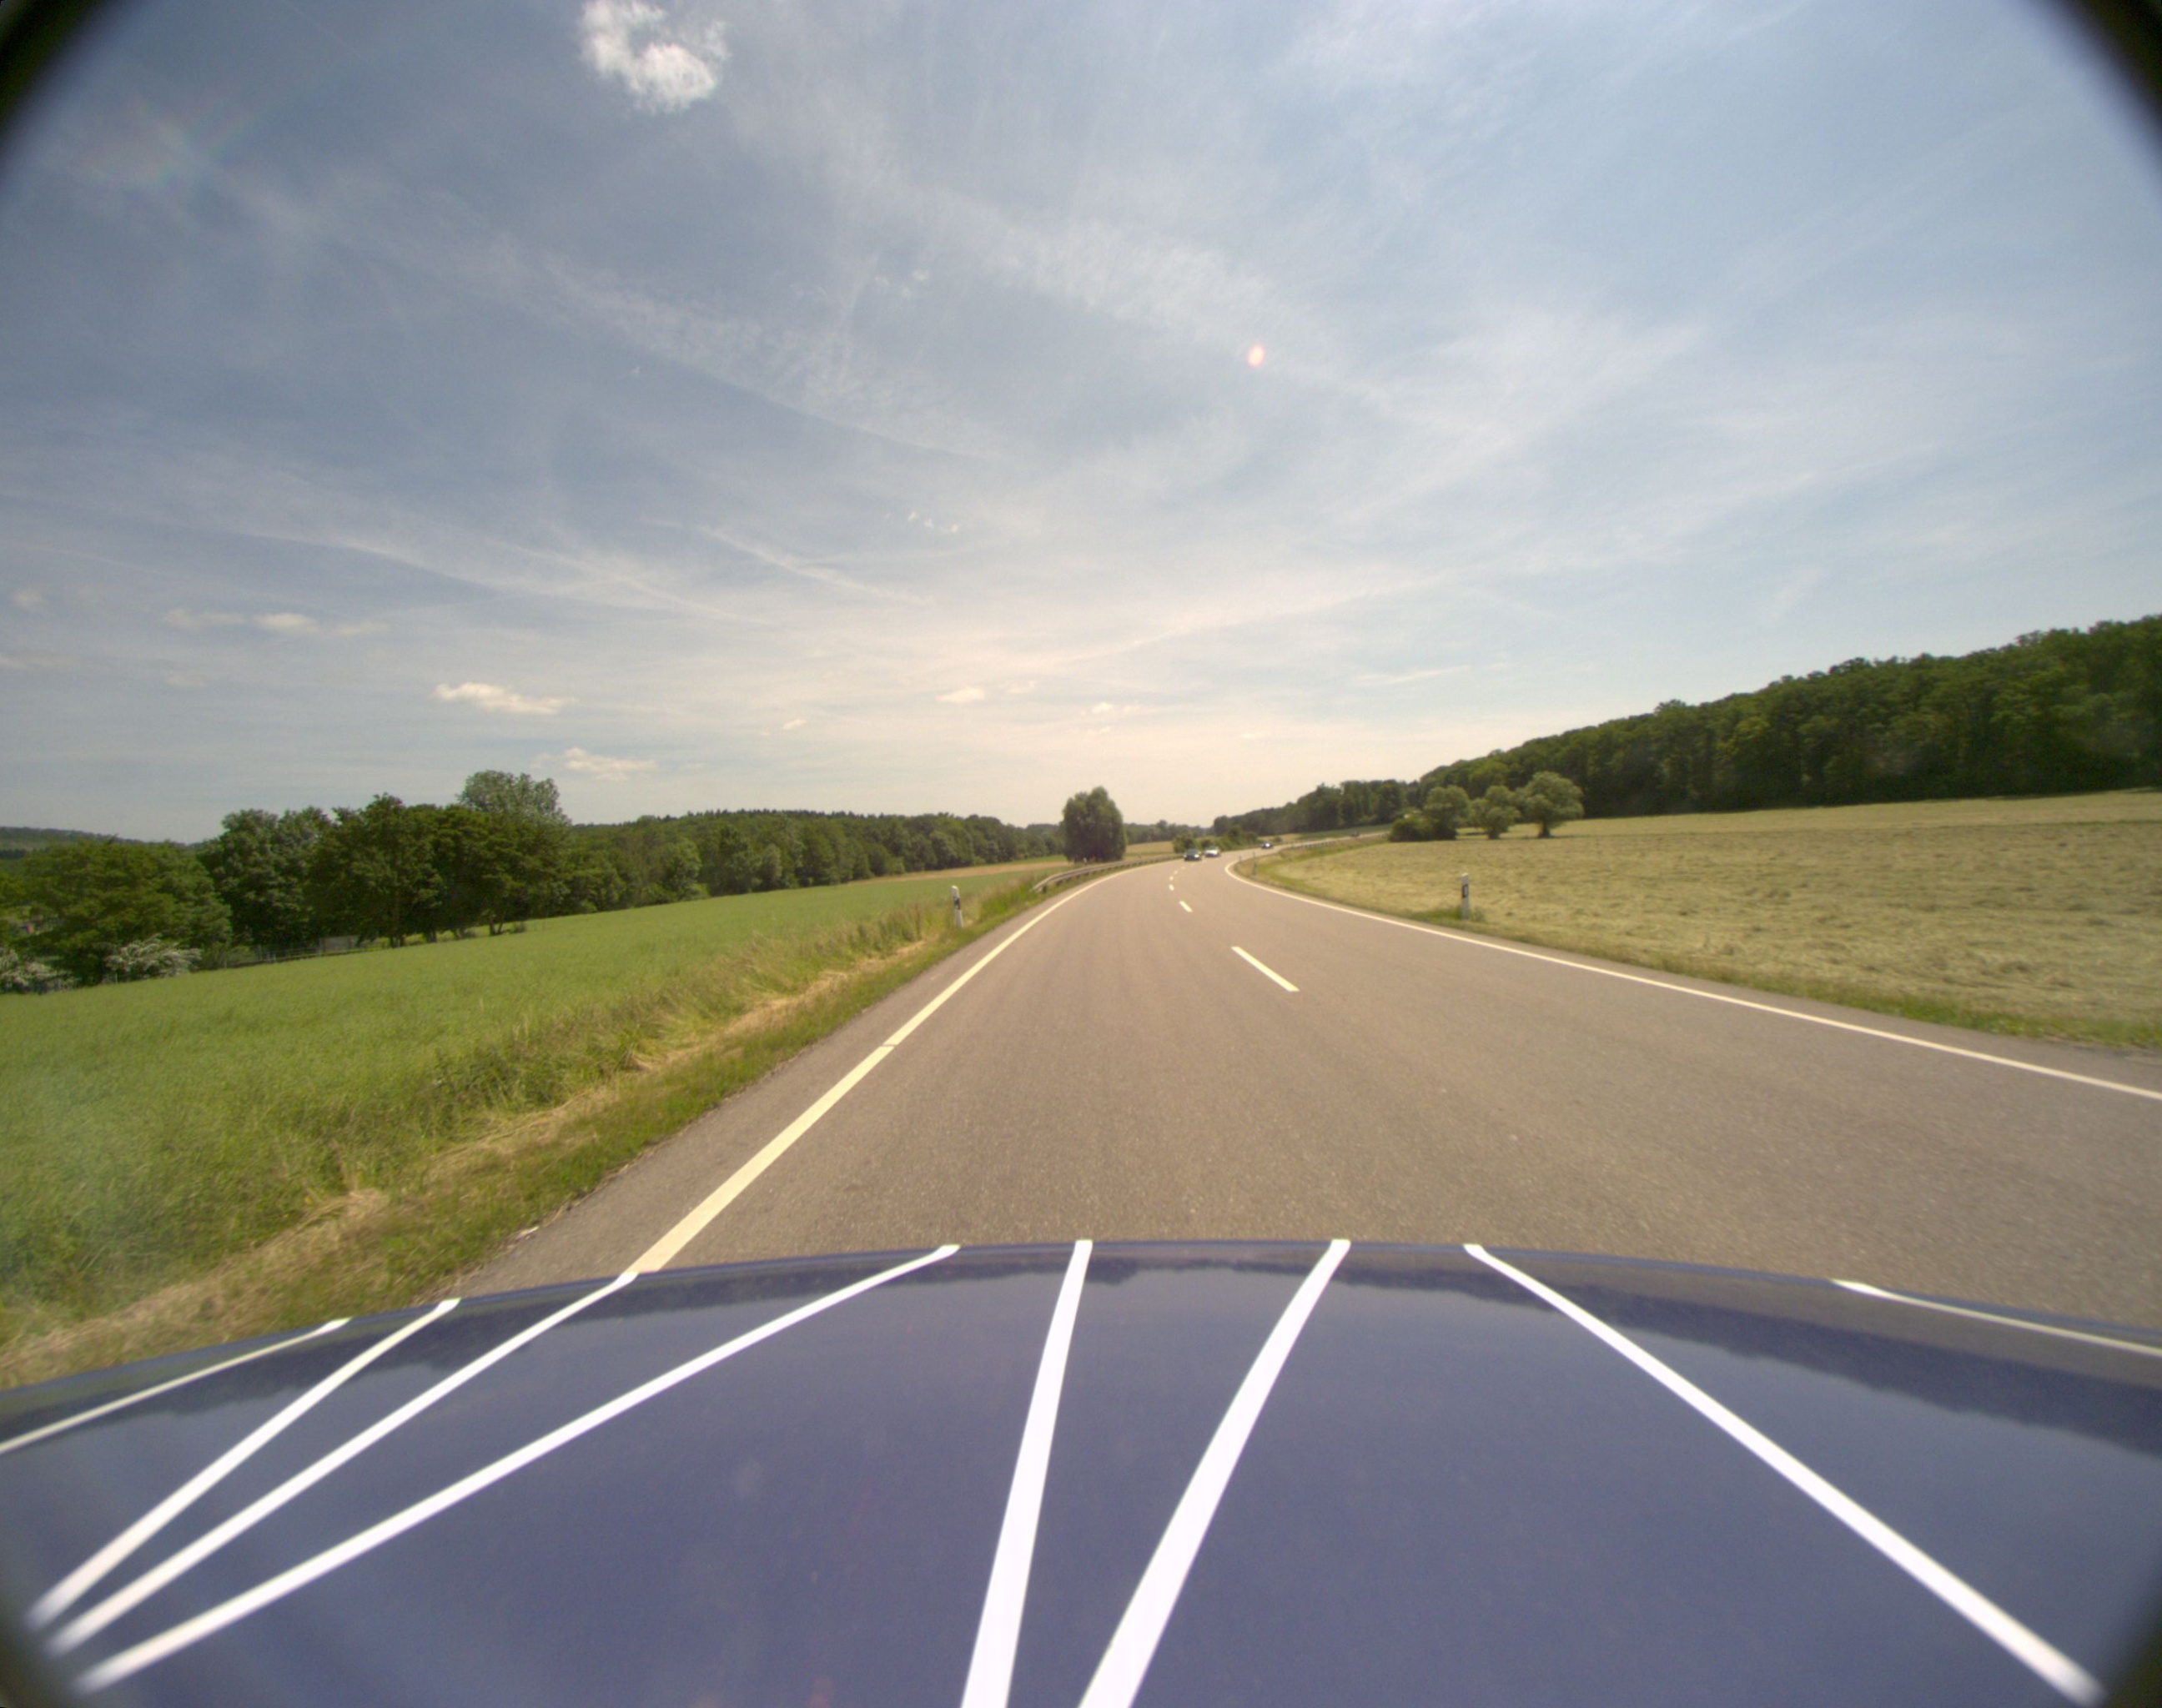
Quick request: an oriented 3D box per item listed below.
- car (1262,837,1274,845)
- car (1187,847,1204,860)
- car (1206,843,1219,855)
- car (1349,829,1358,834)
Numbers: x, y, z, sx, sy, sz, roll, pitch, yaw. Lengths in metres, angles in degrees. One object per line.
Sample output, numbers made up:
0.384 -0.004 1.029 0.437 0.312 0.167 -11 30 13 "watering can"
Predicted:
37.926 -2.539 153.890 1.619 1.428 3.448 -2 2 27 "car"
14.212 -0.107 94.020 1.620 1.428 3.446 -2 1 15 "car"
19.311 -0.738 111.347 1.620 1.428 3.445 -2 2 14 "car"
79.977 -6.615 222.868 1.618 1.429 3.448 -1 3 35 "car"
